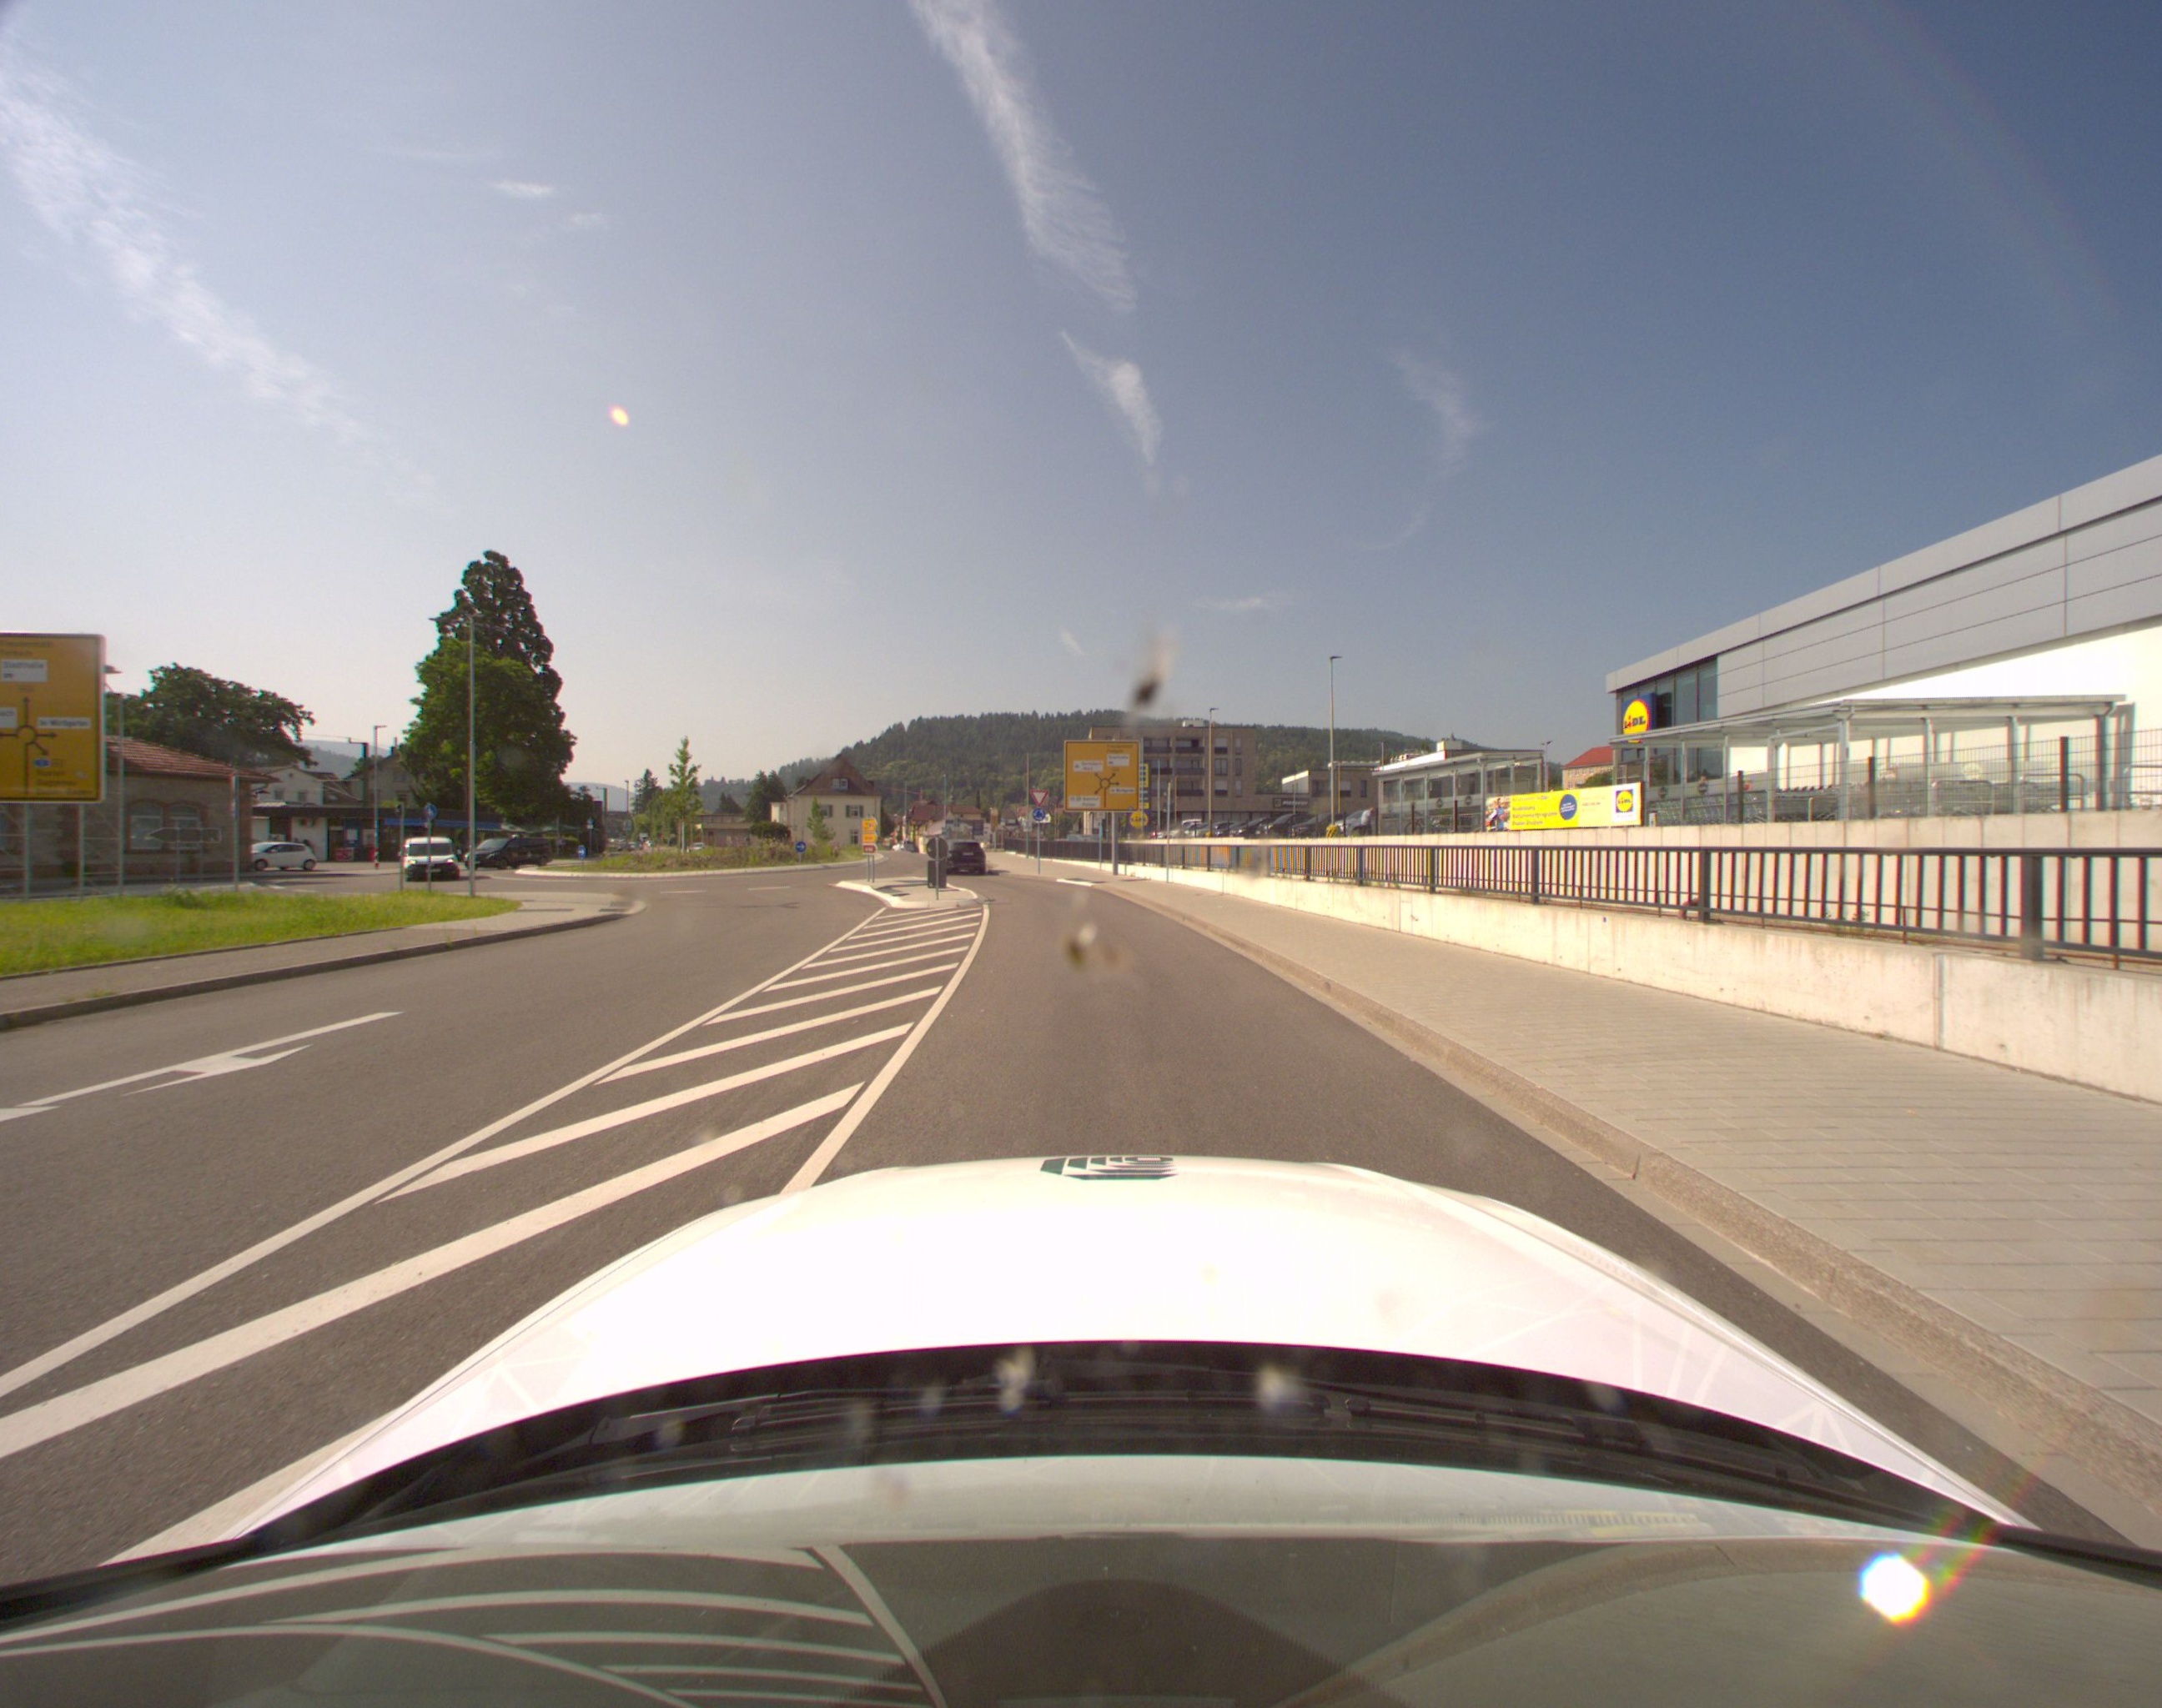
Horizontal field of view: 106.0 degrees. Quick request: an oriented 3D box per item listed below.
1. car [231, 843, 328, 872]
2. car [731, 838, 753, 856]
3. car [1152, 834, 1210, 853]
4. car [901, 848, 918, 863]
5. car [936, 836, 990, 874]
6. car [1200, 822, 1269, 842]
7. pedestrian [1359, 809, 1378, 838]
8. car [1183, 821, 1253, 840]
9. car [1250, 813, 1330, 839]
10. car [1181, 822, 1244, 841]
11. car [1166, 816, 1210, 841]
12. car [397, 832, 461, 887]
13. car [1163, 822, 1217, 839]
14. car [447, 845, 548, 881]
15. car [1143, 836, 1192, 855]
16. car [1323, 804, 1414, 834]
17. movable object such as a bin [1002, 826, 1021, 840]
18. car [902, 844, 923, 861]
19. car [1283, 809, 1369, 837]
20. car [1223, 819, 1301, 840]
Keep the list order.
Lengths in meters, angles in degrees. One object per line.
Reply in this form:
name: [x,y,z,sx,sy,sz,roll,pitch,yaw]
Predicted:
car: [-42.074,0.210,42.844,1.381,1.450,3.541,0,-2,5]
car: [-38.391,-0.814,92.277,1.814,2.013,3.977,-1,1,-17]
car: [7.674,-0.812,62.598,4.060,1.487,1.709,0,1,-13]
car: [-24.638,0.222,116.729,1.999,2.013,3.975,-1,0,-18]
car: [-5.643,0.034,38.553,1.886,1.684,3.975,-1,0,-18]
car: [9.703,-1.389,51.561,3.974,1.245,1.721,0,1,-16]
pedestrian: [13.144,-1.399,37.226,0.548,1.312,0.654,-1,0,-13]
car: [9.104,-1.558,54.226,4.286,1.245,1.656,0,1,-16]
car: [11.652,-1.548,45.477,4.013,1.404,1.716,0,1,-16]
car: [9.102,-1.546,56.328,4.043,1.342,1.652,0,1,-15]
car: [9.905,-2.334,75.503,3.966,2.136,2.004,-1,0,6]
car: [-28.523,0.169,35.756,1.819,2.077,4.557,-1,4,-34]
car: [8.016,-1.733,59.817,3.562,1.199,1.706,0,1,-15]
car: [-33.480,0.502,46.919,1.829,1.946,4.893,-1,0,8]
car: [6.879,-0.688,65.180,3.562,1.430,1.702,0,1,-15]
car: [13.623,-1.618,38.616,3.813,1.364,1.672,0,1,-16]
movable object such as a bin: [-9.248,-2.798,107.856,2.440,1.844,1.425,-1,0,-6]
car: [-20.801,-0.178,100.672,1.989,2.013,3.996,-1,0,-3]
car: [12.551,-1.573,41.760,4.069,1.404,1.478,0,1,-16]
car: [10.818,-1.438,48.695,4.221,1.245,1.735,0,1,-16]
